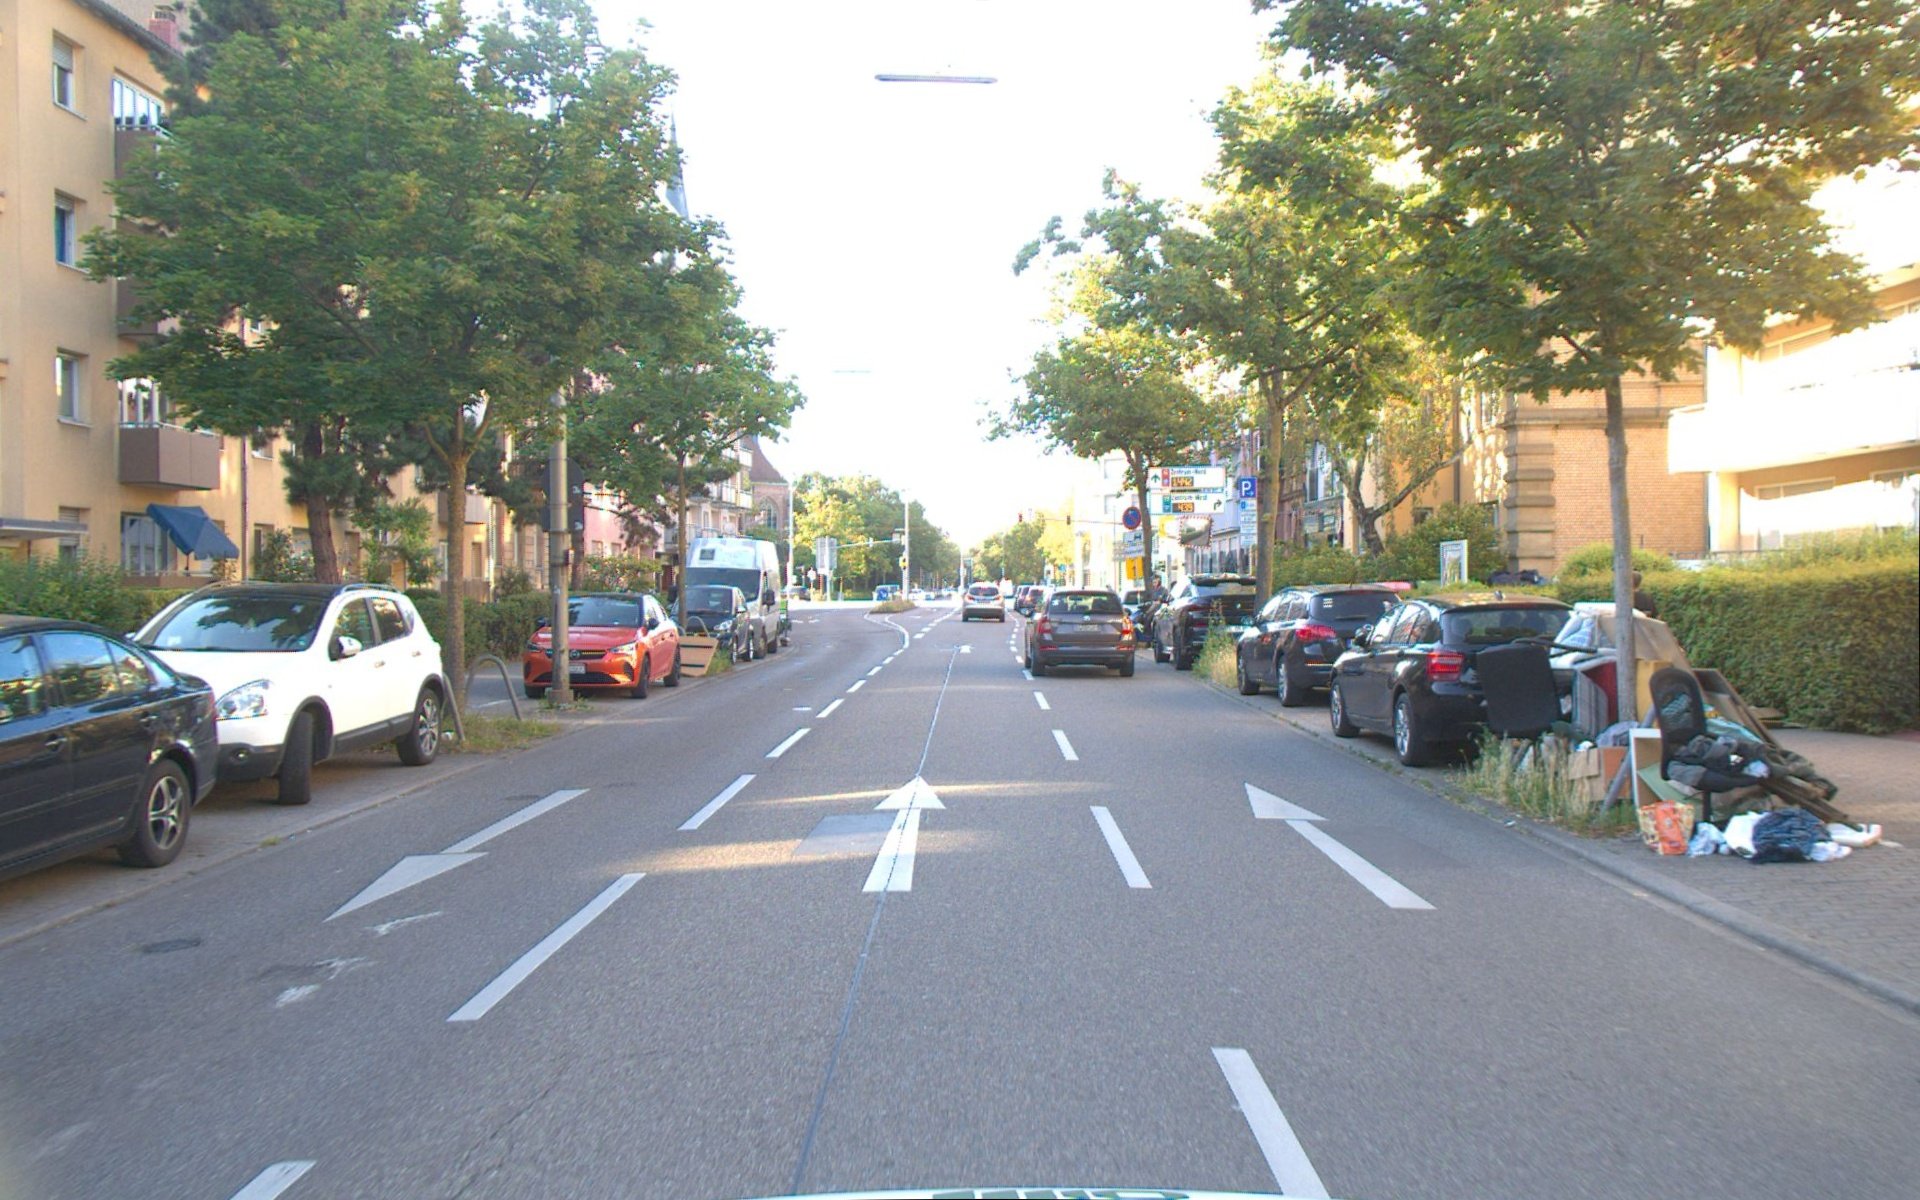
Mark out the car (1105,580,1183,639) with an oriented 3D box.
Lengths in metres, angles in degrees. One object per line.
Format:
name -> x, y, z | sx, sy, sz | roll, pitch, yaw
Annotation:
car -> 5.203, 0.228, 47.278 | 1.817, 1.538, 4.836 | -2, 1, 2

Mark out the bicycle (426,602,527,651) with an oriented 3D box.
bicycle -> -10.084, 0.544, 34.513 | 1.895, 0.941, 0.583 | 2, 0, 1

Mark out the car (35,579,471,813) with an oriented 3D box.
car -> -5.534, 0.643, 13.587 | 1.740, 1.616, 4.186 | 0, 1, 1

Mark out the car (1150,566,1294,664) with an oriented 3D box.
car -> 4.806, 0.233, 31.046 | 1.908, 1.684, 4.796 | -1, 1, 0

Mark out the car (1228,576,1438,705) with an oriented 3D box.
car -> 4.837, 0.458, 22.083 | 1.681, 1.498, 4.430 | -1, 1, -1

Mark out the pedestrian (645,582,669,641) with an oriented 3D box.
pedestrian -> -8.749, 0.318, 47.712 | 0.593, 1.681, 0.696 | -1, 0, -6

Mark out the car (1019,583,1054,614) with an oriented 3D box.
car -> 3.831, -0.110, 82.936 | 1.616, 1.510, 4.240 | 0, 1, 1

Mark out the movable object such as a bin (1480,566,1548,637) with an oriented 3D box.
movable object such as a bin -> 12.706, 0.028, 37.957 | 1.133, 1.583, 0.992 | -1, 0, -9

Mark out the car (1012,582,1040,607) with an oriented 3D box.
car -> 4.050, -0.352, 101.751 | 1.552, 1.472, 3.648 | 1, 1, 1

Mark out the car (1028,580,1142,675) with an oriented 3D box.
car -> 2.064, 0.409, 28.310 | 1.672, 1.482, 4.159 | 1, 1, 1

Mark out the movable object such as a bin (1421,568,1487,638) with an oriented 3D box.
movable object such as a bin -> 11.392, 0.062, 38.139 | 1.133, 1.583, 0.992 | -1, 0, -9

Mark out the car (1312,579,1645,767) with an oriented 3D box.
car -> 4.672, 0.564, 15.624 | 1.734, 1.474, 4.484 | -1, 1, 0

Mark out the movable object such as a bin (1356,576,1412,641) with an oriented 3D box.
movable object such as a bin -> 9.787, 0.199, 38.165 | 1.226, 1.466, 0.995 | -1, 0, 15

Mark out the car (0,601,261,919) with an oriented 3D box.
car -> -5.496, 0.774, 8.423 | 1.953, 1.473, 4.458 | -1, 0, 0

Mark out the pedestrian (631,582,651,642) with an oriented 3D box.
pedestrian -> -9.037, 0.336, 46.869 | 0.470, 1.681, 0.724 | -1, 0, -6

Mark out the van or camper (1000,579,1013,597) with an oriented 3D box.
van or camper -> 6.955, -1.847, 247.719 | 1.952, 2.686, 5.352 | -1, 1, 2

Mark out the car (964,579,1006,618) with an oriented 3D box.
car -> 1.014, -0.099, 67.942 | 1.672, 1.536, 4.309 | 0, 1, 1

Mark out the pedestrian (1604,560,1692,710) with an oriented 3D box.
pedestrian -> 7.692, 0.383, 18.502 | 0.731, 1.644, 0.579 | -1, 0, -1

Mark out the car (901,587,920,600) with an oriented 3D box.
car -> -5.007, -0.639, 168.307 | 1.743, 1.257, 4.001 | 0, 1, 1

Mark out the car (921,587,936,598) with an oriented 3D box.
car -> -3.889, -0.915, 205.356 | 1.743, 1.257, 4.001 | 0, 1, 1

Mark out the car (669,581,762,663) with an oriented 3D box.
car -> -4.982, 0.414, 33.961 | 1.374, 1.575, 2.762 | 1, 1, 2

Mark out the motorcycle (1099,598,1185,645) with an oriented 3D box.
motorcycle -> 4.358, 0.509, 39.560 | 1.891, 1.089, 0.818 | -1, 0, -12

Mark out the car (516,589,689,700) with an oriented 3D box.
car -> -5.209, 0.593, 24.556 | 1.682, 1.477, 3.923 | 0, 1, 0

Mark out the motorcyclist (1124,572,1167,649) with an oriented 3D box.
motorcyclist -> 4.412, 0.254, 39.461 | 0.723, 1.809, 1.085 | 0, 0, -11

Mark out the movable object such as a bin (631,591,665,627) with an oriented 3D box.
movable object such as a bin -> -9.642, 0.267, 51.127 | 0.849, 1.069, 0.769 | 2, 0, -1

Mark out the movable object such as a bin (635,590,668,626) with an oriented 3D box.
movable object such as a bin -> -9.697, 0.243, 51.998 | 0.849, 1.069, 0.769 | 2, 0, -1

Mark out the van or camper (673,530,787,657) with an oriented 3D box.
van or camper -> -5.308, -0.165, 38.935 | 1.994, 2.710, 6.013 | 1, 0, -2
